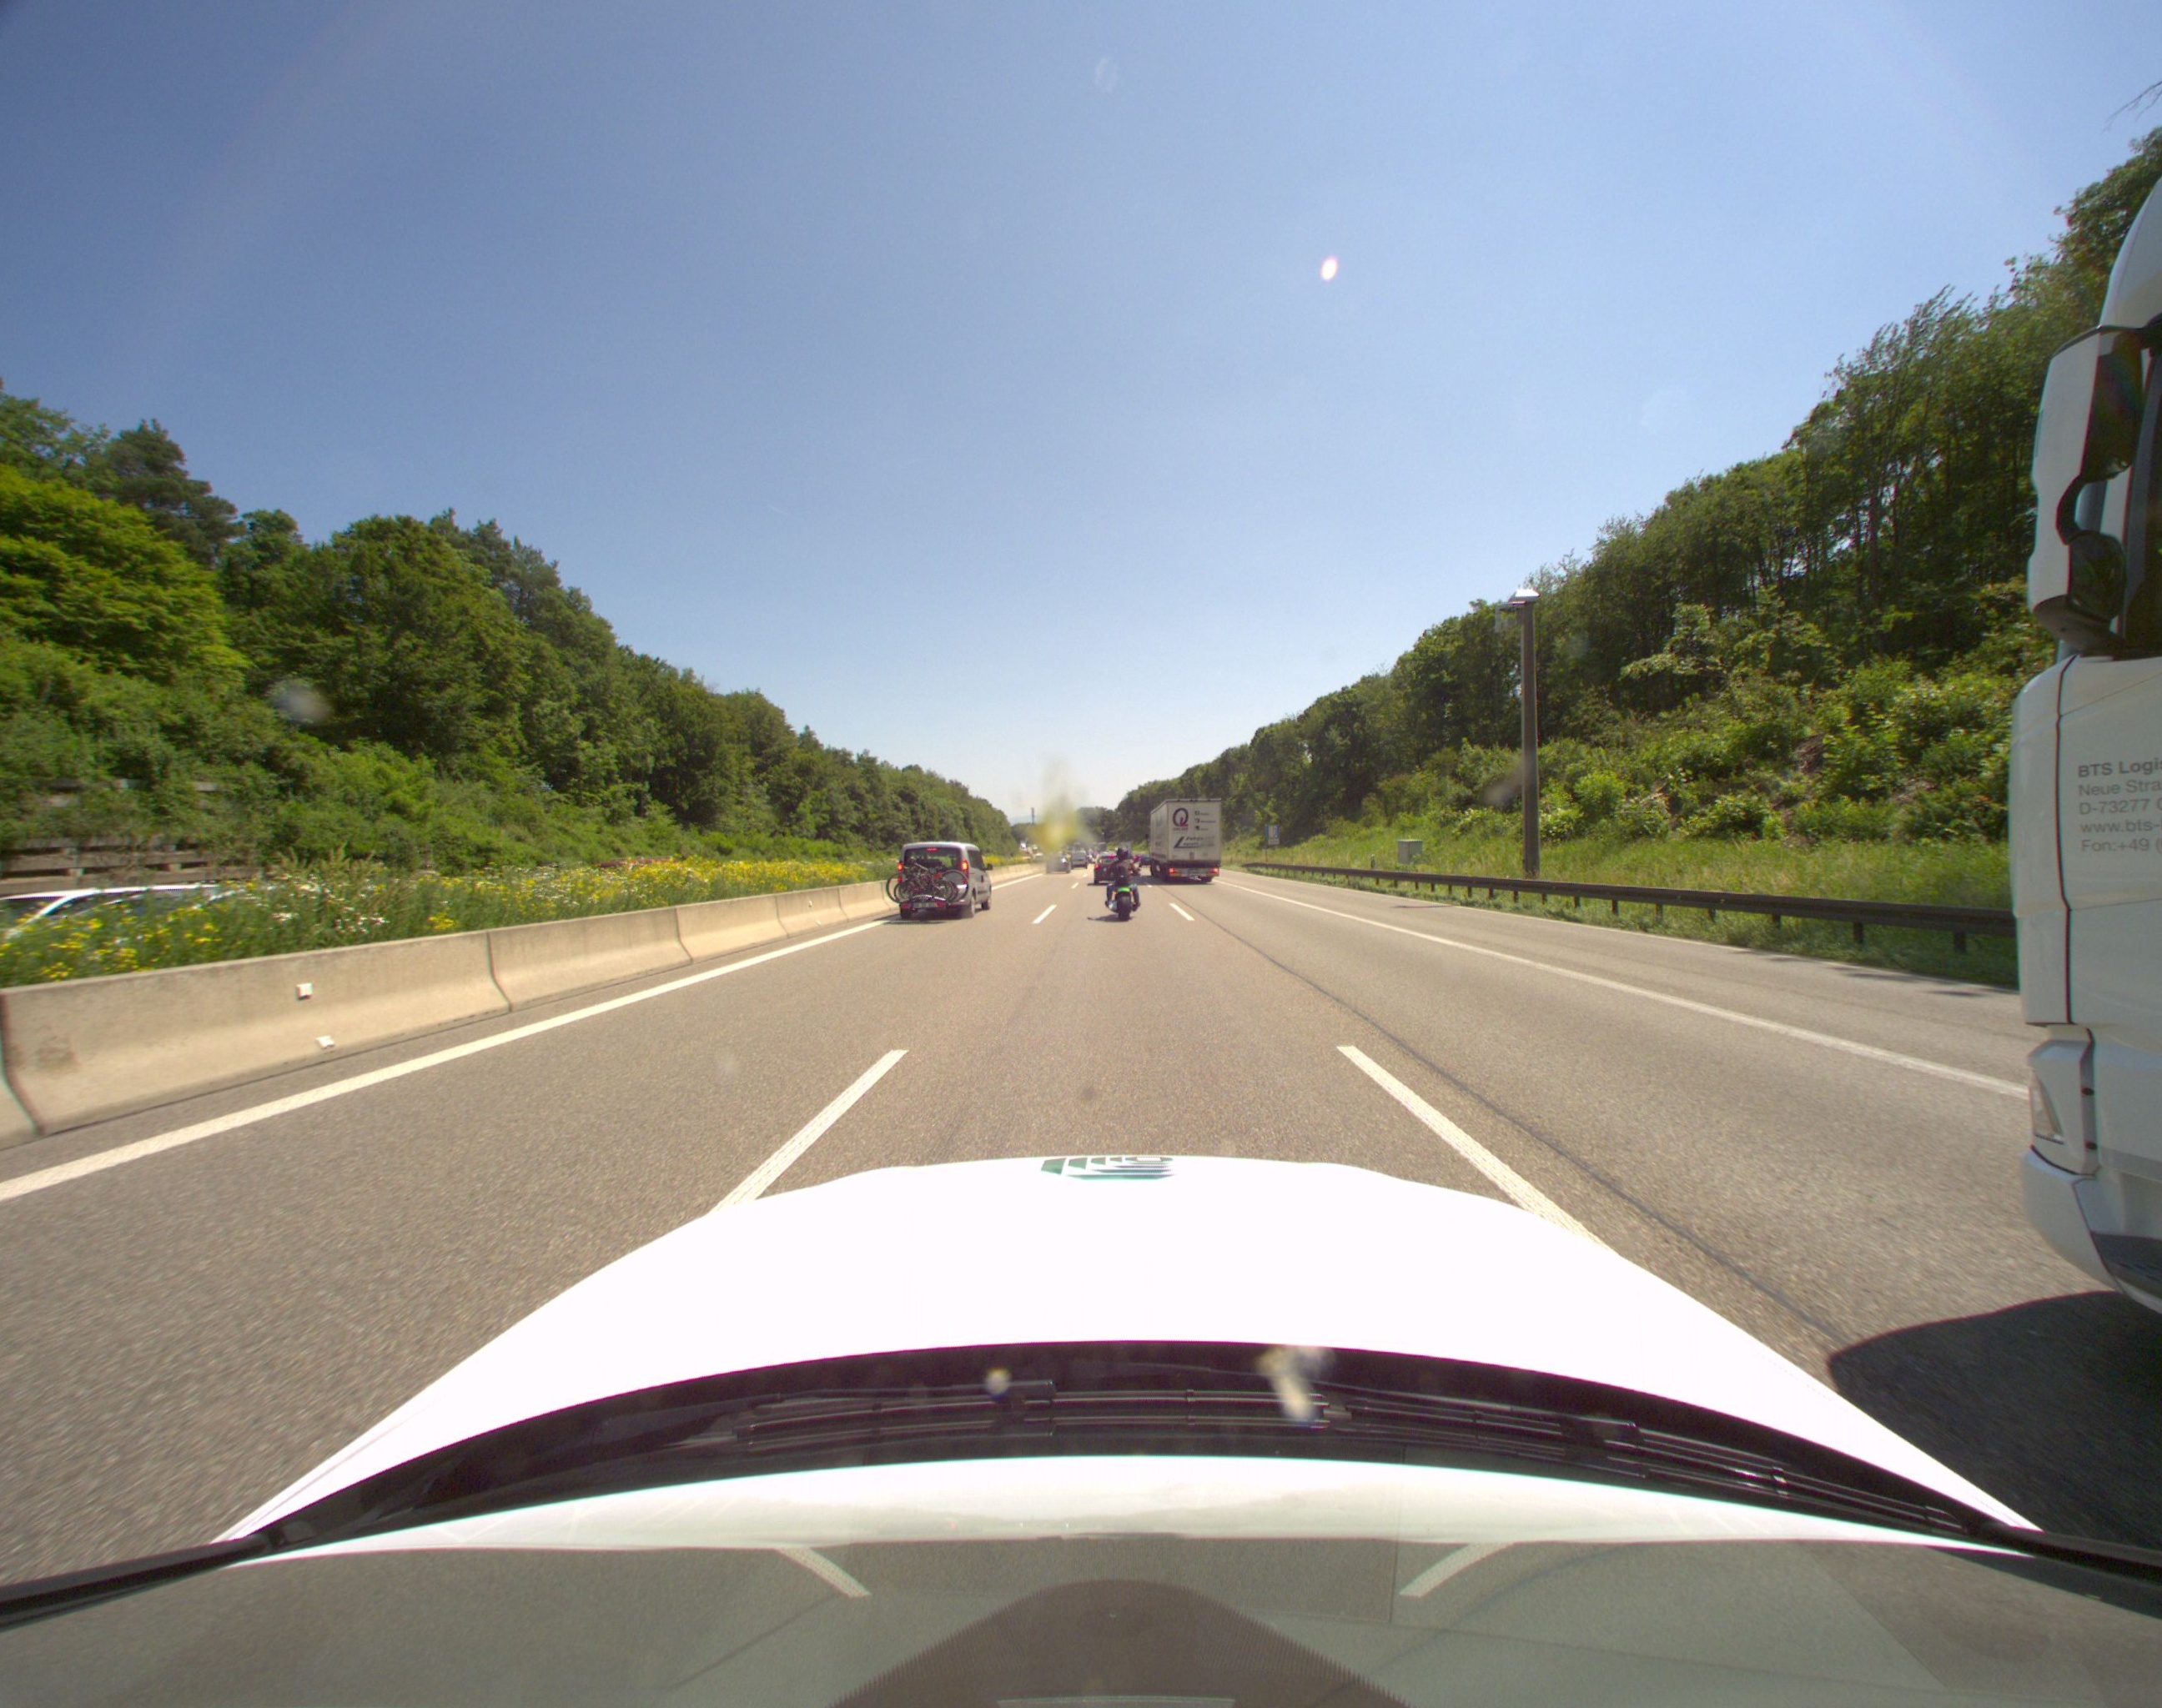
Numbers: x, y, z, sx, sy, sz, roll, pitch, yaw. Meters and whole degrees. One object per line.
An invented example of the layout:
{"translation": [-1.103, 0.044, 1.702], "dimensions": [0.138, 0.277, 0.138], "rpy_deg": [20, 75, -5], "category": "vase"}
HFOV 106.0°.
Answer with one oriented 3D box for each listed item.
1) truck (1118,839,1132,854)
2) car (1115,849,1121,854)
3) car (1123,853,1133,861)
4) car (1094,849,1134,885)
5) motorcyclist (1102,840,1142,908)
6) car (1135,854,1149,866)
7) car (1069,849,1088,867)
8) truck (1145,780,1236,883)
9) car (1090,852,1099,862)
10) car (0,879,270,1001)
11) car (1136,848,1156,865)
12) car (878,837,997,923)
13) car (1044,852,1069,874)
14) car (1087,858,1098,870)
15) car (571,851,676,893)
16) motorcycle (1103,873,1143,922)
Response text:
{"translation": [9.742, -1.672, 181.648], "dimensions": [3.056, 3.346, 9.657], "rpy_deg": [0, 1, 2], "category": "truck"}
{"translation": [10.741, -0.740, 236.746], "dimensions": [1.824, 1.558, 4.122], "rpy_deg": [-1, 1, 1], "category": "car"}
{"translation": [9.220, 0.543, 160.795], "dimensions": [1.824, 1.558, 4.122], "rpy_deg": [-1, 1, 1], "category": "car"}
{"translation": [1.610, 0.590, 40.115], "dimensions": [1.838, 1.557, 4.441], "rpy_deg": [-1, 1, 1], "category": "car"}
{"translation": [0.946, 0.443, 18.736], "dimensions": [0.852, 1.515, 0.914], "rpy_deg": [-1, 0, 2], "category": "motorcyclist"}
{"translation": [8.552, 0.809, 114.160], "dimensions": [1.824, 1.558, 4.122], "rpy_deg": [-1, 1, 1], "category": "car"}
{"translation": [-0.230, 0.378, 87.225], "dimensions": [1.824, 1.810, 4.122], "rpy_deg": [-1, 1, 1], "category": "car"}
{"translation": [5.736, -1.188, 46.380], "dimensions": [3.370, 4.717, 17.718], "rpy_deg": [0, 1, 2], "category": "truck"}
{"translation": [2.786, 0.627, 164.097], "dimensions": [1.824, 1.810, 4.122], "rpy_deg": [-1, 1, 1], "category": "car"}
{"translation": [-17.640, 1.394, 14.454], "dimensions": [1.803, 1.807, 4.505], "rpy_deg": [0, -1, 3], "category": "car"}
{"translation": [6.734, 0.246, 84.680], "dimensions": [1.824, 1.558, 4.122], "rpy_deg": [-1, 1, 1], "category": "car"}
{"translation": [-3.445, 0.577, 20.650], "dimensions": [1.891, 1.848, 5.485], "rpy_deg": [-1, 0, 1], "category": "car"}
{"translation": [-1.926, 0.675, 65.130], "dimensions": [1.751, 1.543, 4.397], "rpy_deg": [-1, 1, 1], "category": "car"}
{"translation": [1.952, 1.689, 141.429], "dimensions": [1.824, 1.810, 4.122], "rpy_deg": [-1, 1, 1], "category": "car"}
{"translation": [-20.860, 0.803, 37.387], "dimensions": [1.985, 1.807, 4.658], "rpy_deg": [0, -1, 3], "category": "car"}
{"translation": [0.962, 0.971, 18.840], "dimensions": [0.859, 0.982, 2.132], "rpy_deg": [-1, 0, 3], "category": "motorcycle"}
